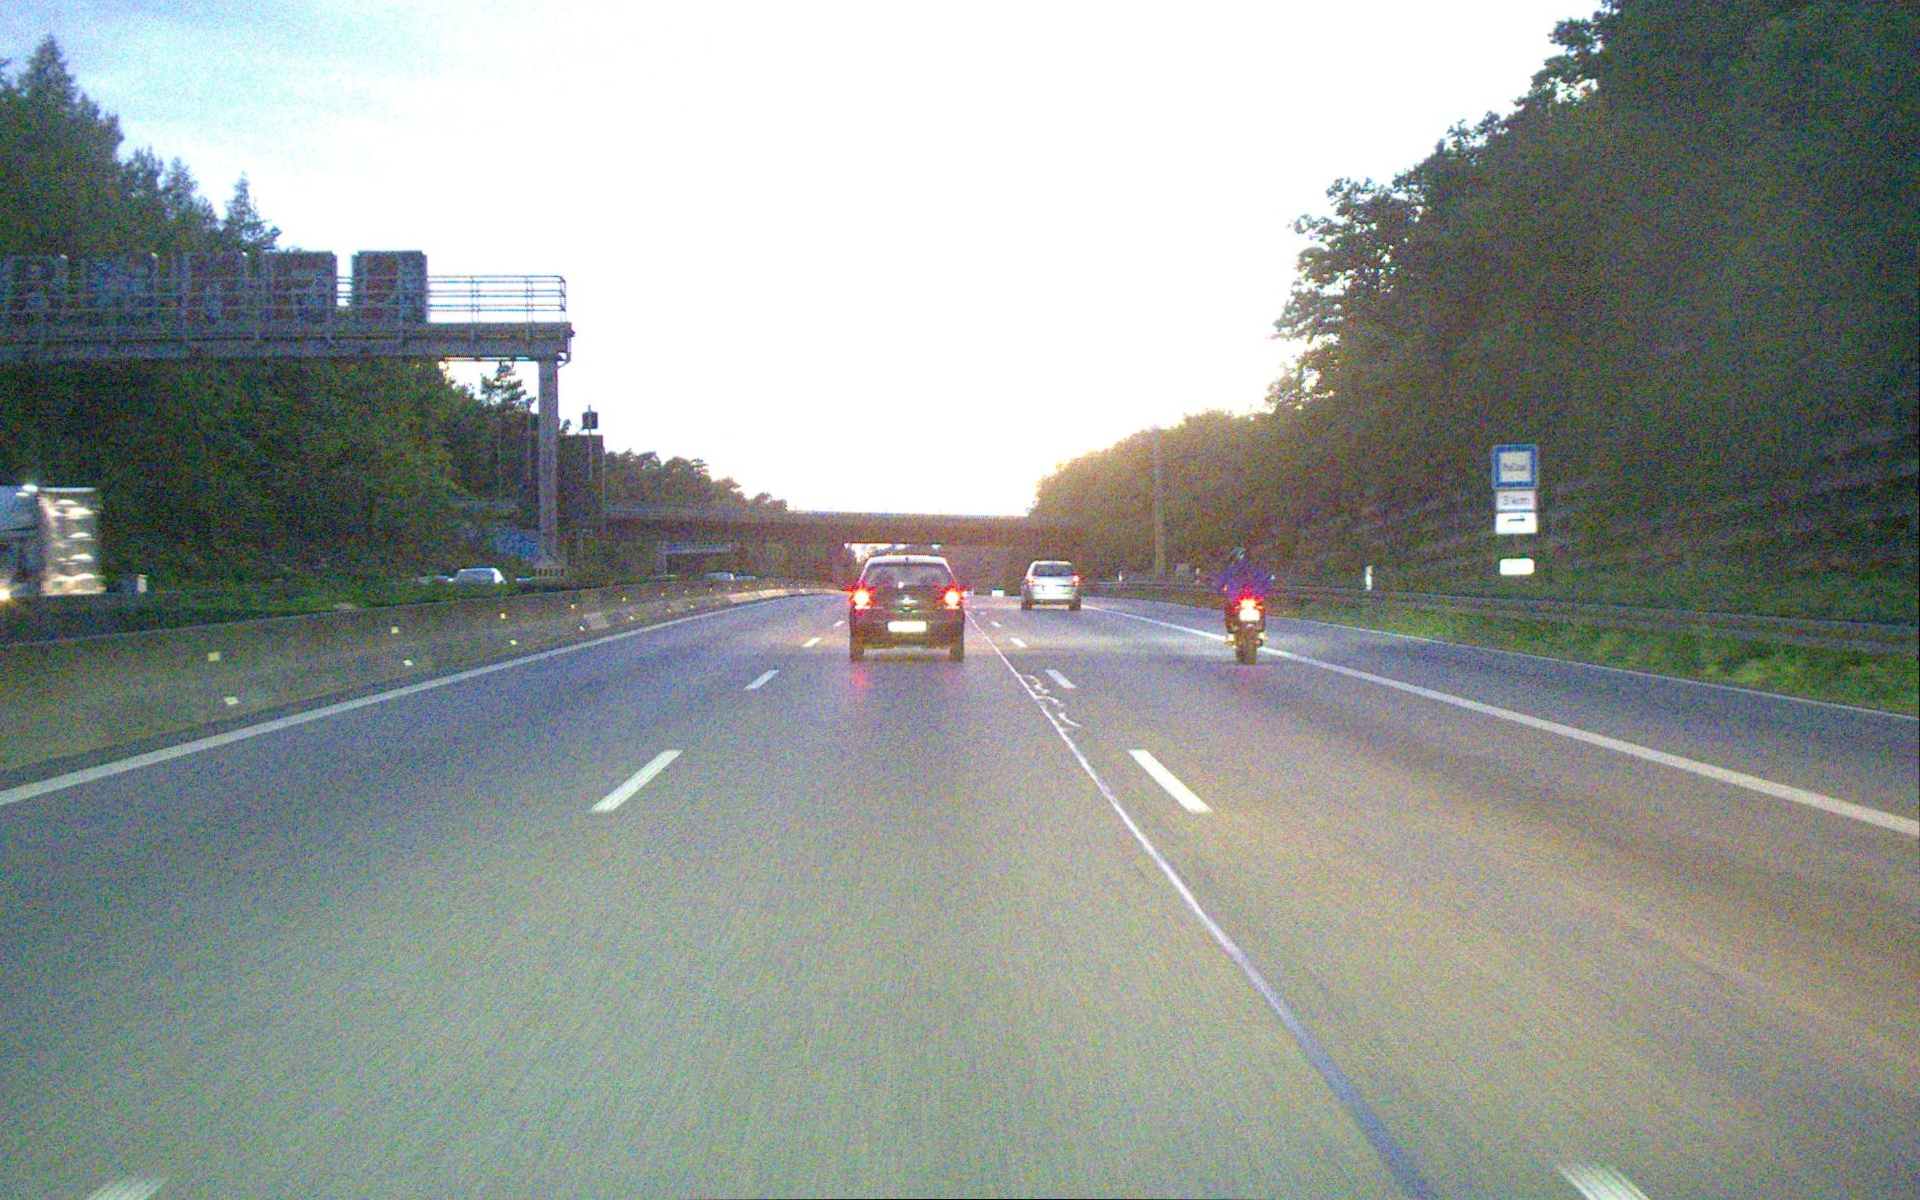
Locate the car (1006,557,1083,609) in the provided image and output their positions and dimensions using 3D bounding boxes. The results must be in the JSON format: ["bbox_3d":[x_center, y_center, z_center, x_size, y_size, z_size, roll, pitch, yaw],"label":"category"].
[{"bbox_3d":[2.544,-0.519,104.463,1.865,1.489,4.399,1,0,-5],"label":"car"}]

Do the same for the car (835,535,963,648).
[{"bbox_3d":[-0.847,-0.131,49.071,1.704,1.504,4.232,1,0,0],"label":"car"}]

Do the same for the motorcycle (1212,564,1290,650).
[{"bbox_3d":[3.959,0.079,46.936,0.829,1.130,2.476,0,1,-1],"label":"motorcycle"}]

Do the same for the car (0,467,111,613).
[{"bbox_3d":[-19.634,-1.226,71.328,1.982,2.870,7.834,0,1,1],"label":"car"}]

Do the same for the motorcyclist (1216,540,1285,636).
[{"bbox_3d":[3.959,-0.165,46.865,0.829,1.287,1.190,0,1,-1],"label":"motorcyclist"}]
